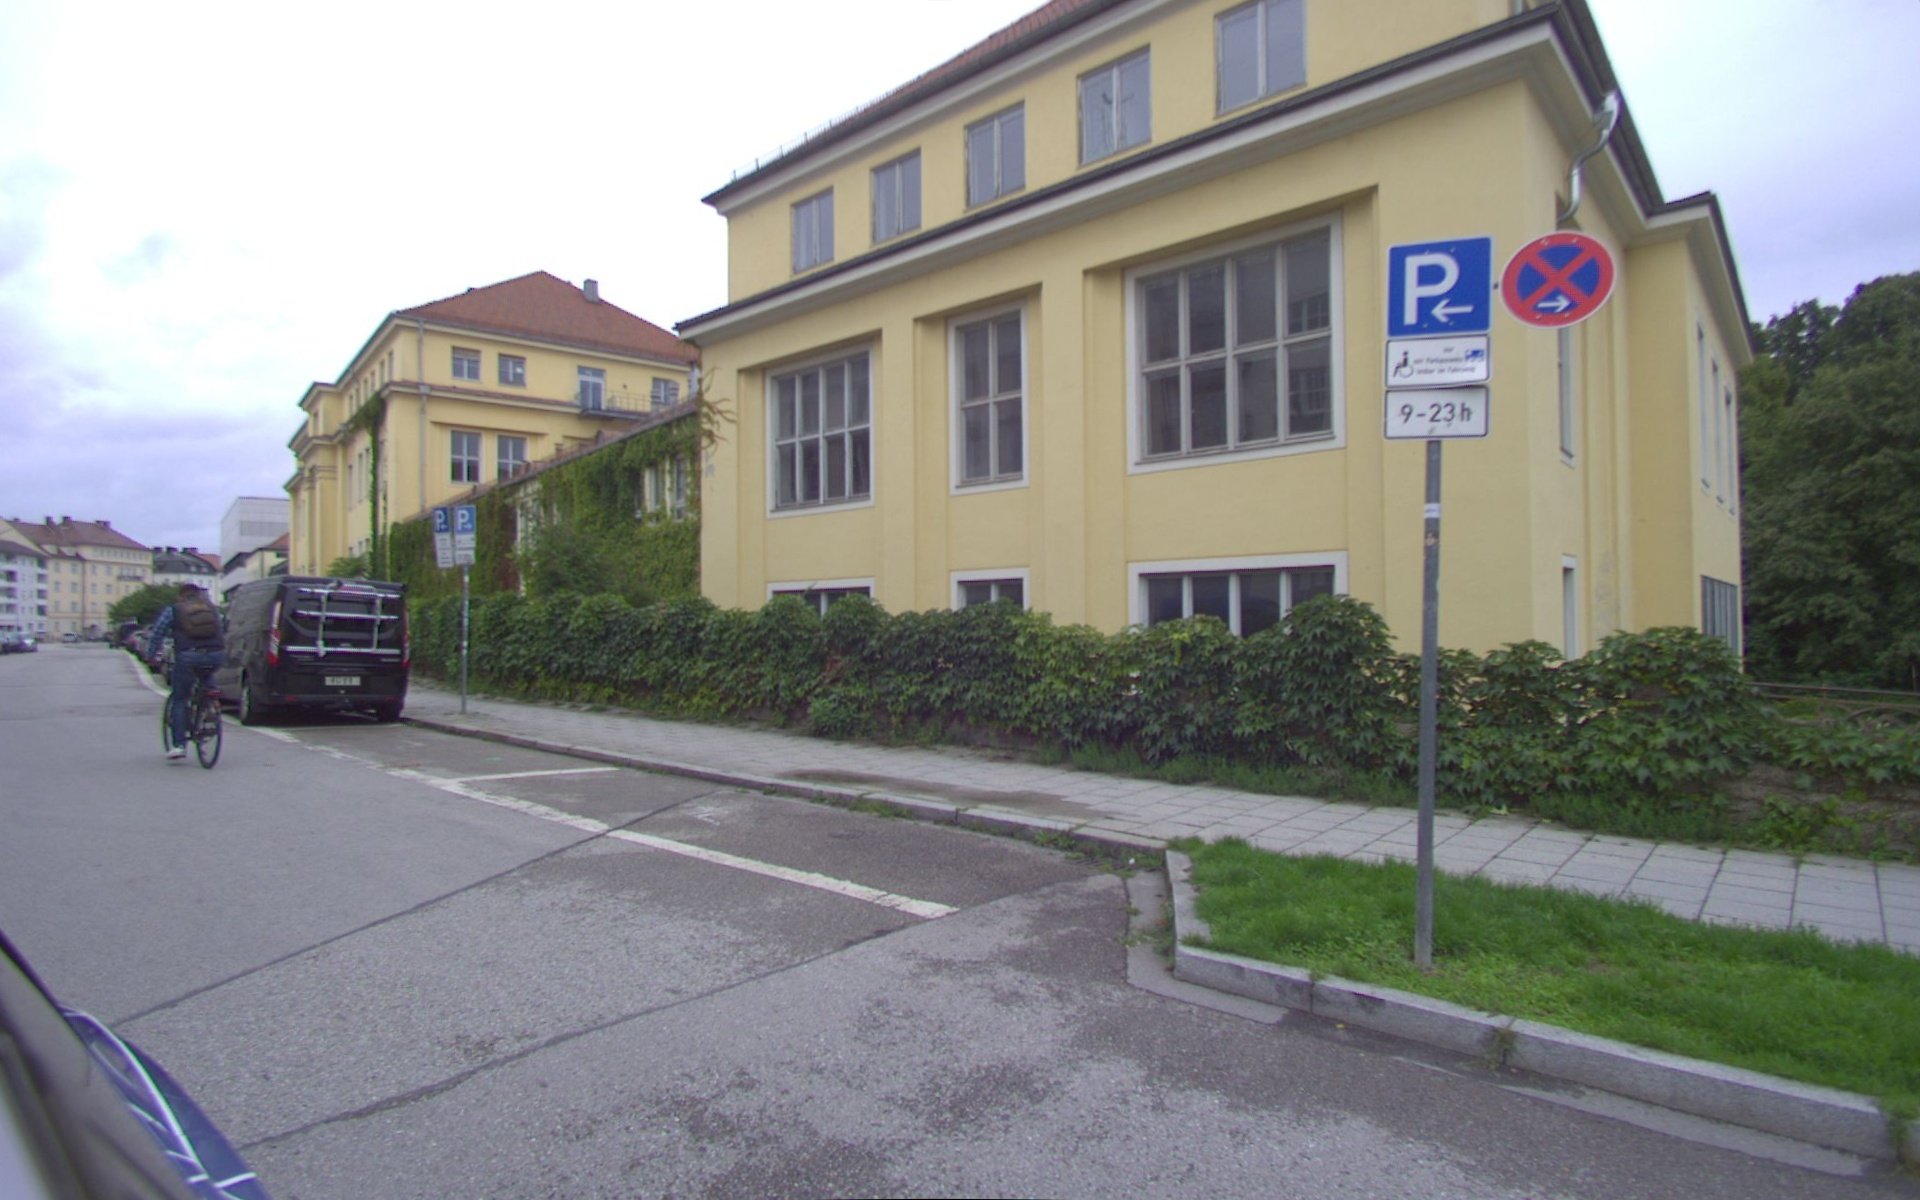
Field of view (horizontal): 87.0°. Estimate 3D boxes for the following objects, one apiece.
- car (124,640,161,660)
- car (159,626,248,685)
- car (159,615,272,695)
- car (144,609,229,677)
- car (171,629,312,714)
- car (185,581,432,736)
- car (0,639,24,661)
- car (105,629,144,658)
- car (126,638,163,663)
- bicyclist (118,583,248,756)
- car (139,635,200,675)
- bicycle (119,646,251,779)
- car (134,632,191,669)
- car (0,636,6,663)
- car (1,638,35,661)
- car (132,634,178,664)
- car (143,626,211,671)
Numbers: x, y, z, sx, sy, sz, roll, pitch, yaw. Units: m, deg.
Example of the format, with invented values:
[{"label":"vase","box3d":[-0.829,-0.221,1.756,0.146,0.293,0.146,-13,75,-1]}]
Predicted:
[{"label":"car","box3d":[-64.359,3.894,79.614,1.934,1.493,4.534,5,-5,-42]},{"label":"car","box3d":[-20.369,1.479,27.157,1.632,1.425,4.779,5,-5,-39]},{"label":"car","box3d":[-17.207,1.257,23.312,1.676,1.655,4.497,4,-5,-41]},{"label":"car","box3d":[-24.000,1.344,31.370,1.863,1.904,4.783,4,-4,-38]},{"label":"car","box3d":[-13.831,1.329,19.364,1.673,1.404,4.507,7,-6,-41]},{"label":"car","box3d":[-10.182,0.854,15.600,5.352,1.979,2.049,-2,-4,45]},{"label":"car","box3d":[-63.287,3.314,66.920,1.666,1.412,4.372,0,-2,-38]},{"label":"car","box3d":[-88.313,4.614,106.956,6.196,2.876,2.189,-2,-5,43]},{"label":"car","box3d":[-52.627,3.254,65.280,1.678,1.508,4.156,6,-5,-39]},{"label":"bicyclist","box3d":[-7.776,0.661,10.131,0.946,1.620,0.854,-1,-2,41]},{"label":"car","box3d":[-30.926,2.136,39.537,1.583,1.441,4.258,5,-5,-40]},{"label":"bicycle","box3d":[-7.808,1.069,10.166,2.002,1.167,0.663,-1,-1,41]},{"label":"car","box3d":[-37.247,2.346,47.217,1.767,1.599,4.824,5,-5,-41]},{"label":"car","box3d":[-59.253,3.080,61.594,1.686,1.604,4.366,-1,-2,-43]},{"label":"car","box3d":[-73.532,3.889,78.969,3.804,1.686,1.663,-3,-1,43]},{"label":"car","box3d":[-45.950,2.798,57.721,1.724,1.646,4.862,3,-4,-42]},{"label":"car","box3d":[-27.524,1.693,35.536,1.571,1.452,4.024,4,-4,-41]}]
